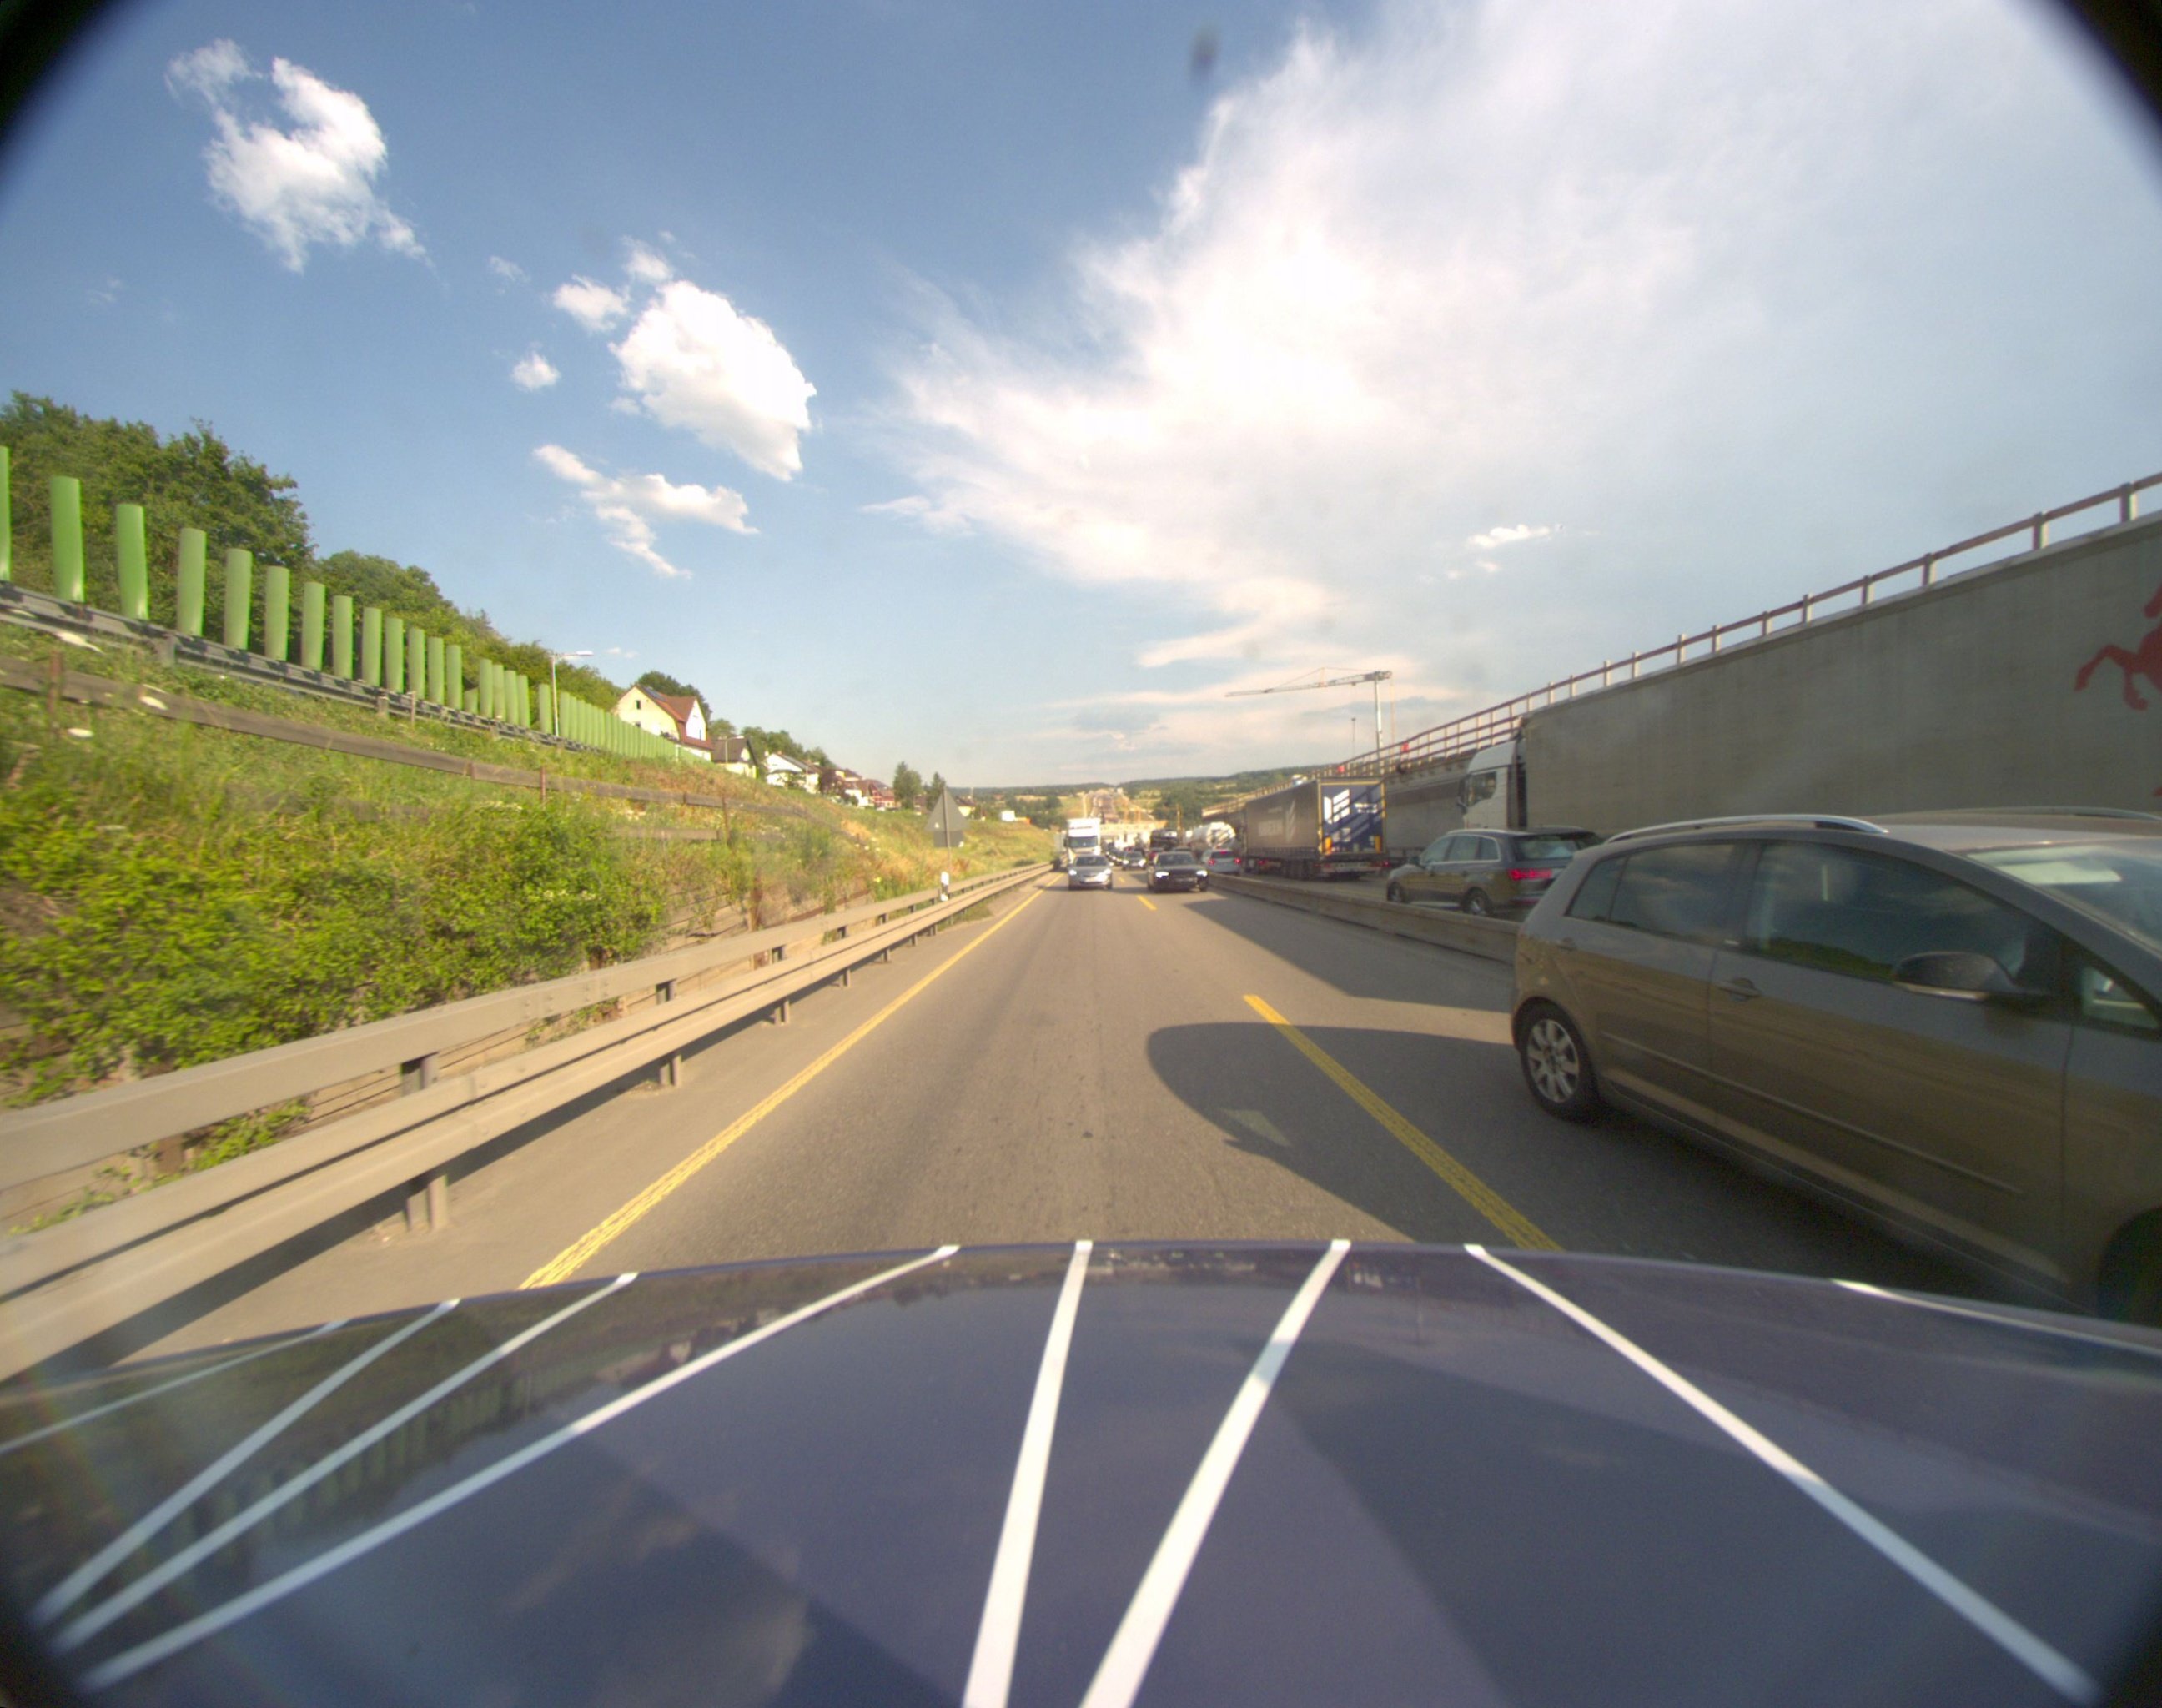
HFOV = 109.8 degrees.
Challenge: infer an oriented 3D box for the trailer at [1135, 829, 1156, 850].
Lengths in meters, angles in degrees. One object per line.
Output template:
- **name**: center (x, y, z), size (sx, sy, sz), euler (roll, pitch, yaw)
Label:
- **trailer**: center (12.232, -2.801, 144.990), size (2.659, 3.828, 13.439), euler (-2, 1, 0)

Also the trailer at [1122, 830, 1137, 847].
- **trailer**: center (12.060, -3.944, 189.241), size (2.933, 4.014, 13.771), euler (-2, 1, 1)

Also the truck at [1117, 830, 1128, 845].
- **truck**: center (13.092, -5.207, 238.323), size (2.834, 4.239, 10.070), euler (-2, 1, 1)

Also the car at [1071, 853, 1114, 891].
- **car**: center (0.488, 0.704, 31.688), size (1.671, 1.425, 3.523), euler (-1, 1, 1)

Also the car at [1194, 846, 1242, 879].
- **car**: center (6.962, 0.388, 39.077), size (1.645, 1.451, 4.595), euler (-2, 1, 1)

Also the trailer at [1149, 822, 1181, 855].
- **trailer**: center (11.157, -2.114, 102.415), size (2.778, 4.008, 15.760), euler (-2, 1, 1)

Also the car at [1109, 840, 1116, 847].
- **car**: center (8.785, -2.886, 213.253), size (1.785, 1.833, 4.852), euler (-2, 1, 1)

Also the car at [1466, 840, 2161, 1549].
- **car**: center (3.263, 0.767, 2.667), size (1.685, 1.579, 4.272), euler (0, 0, 1)

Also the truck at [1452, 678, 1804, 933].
- **truck**: center (10.217, -0.833, 15.079), size (2.867, 3.985, 5.656), euler (-2, 1, 0)

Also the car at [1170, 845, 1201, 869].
- **car**: center (7.709, 0.190, 56.488), size (1.645, 1.635, 4.688), euler (-2, 1, 0)

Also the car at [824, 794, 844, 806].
- **car**: center (-31.242, -6.819, 96.216), size (1.347, 1.225, 3.899), euler (-2, 1, -1)

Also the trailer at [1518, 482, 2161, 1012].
- **trailer**: center (10.102, -0.943, 8.199), size (2.920, 4.216, 13.765), euler (-2, 1, 1)

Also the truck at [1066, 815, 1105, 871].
- **truck**: center (0.472, -0.939, 62.196), size (2.741, 4.034, 12.668), euler (-2, 1, 1)

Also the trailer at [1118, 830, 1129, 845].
- **trailer**: center (12.903, -4.972, 228.971), size (2.834, 4.259, 8.733), euler (-2, 1, 1)

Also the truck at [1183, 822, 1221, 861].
- **truck**: center (11.103, -1.199, 70.271), size (2.555, 3.390, 5.530), euler (-2, 1, 1)

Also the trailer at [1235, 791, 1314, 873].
- **trailer**: center (10.608, -1.144, 42.294), size (2.771, 4.117, 5.976), euler (-2, 0, 1)

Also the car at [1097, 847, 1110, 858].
- **car**: center (3.117, -0.187, 104.853), size (1.720, 1.469, 3.727), euler (-2, 1, 0)

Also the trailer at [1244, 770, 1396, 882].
- **trailer**: center (10.484, -1.055, 35.589), size (2.771, 4.117, 14.025), euler (-2, 0, 1)

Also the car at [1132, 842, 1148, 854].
- **car**: center (8.068, -0.871, 104.793), size (1.770, 1.543, 4.835), euler (-2, 1, 0)

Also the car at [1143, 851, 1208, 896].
- **car**: center (3.376, 0.657, 27.974), size (1.873, 1.411, 4.348), euler (-2, 1, 1)

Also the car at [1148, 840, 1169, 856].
- **car**: center (8.053, -0.656, 79.717), size (1.730, 1.548, 4.297), euler (-2, 0, 0)

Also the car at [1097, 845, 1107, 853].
- **car**: center (4.333, -1.092, 159.497), size (1.998, 1.696, 3.999), euler (-2, 1, 0)

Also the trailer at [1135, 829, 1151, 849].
- **trailer**: center (12.297, -2.944, 151.255), size (2.659, 3.829, 6.427), euler (-2, 1, 0)

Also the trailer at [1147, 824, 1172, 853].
- **trailer**: center (11.318, -2.286, 109.876), size (2.778, 4.008, 7.206), euler (-2, 1, 1)

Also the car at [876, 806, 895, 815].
- **car**: center (-33.403, -7.422, 130.124), size (1.998, 1.434, 4.000), euler (-2, 1, 2)

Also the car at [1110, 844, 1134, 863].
- **car**: center (3.960, -0.072, 73.935), size (1.998, 1.740, 3.999), euler (-1, 1, 0)

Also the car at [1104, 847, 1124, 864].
- **car**: center (3.558, 0.146, 82.759), size (1.917, 1.746, 3.999), euler (-1, 0, 0)

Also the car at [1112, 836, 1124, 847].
- **car**: center (8.651, -2.992, 178.853), size (1.999, 2.608, 7.407), euler (-2, 1, -2)

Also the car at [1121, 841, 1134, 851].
- **car**: center (7.526, -1.276, 123.433), size (1.761, 1.569, 4.338), euler (-2, 1, 1)

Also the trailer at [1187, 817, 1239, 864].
- **trailer**: center (10.991, -1.165, 64.210), size (2.563, 3.506, 10.679), euler (-2, 1, 1)

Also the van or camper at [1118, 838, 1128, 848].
- **van or camper**: center (8.979, -2.373, 162.106), size (1.863, 2.002, 5.294), euler (-2, 1, 0)

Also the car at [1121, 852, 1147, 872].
- **car**: center (4.090, 0.602, 59.138), size (1.692, 1.294, 3.882), euler (-2, 1, -1)

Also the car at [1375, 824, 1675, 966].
- **car**: center (6.729, 0.472, 12.372), size (1.827, 1.762, 5.138), euler (-2, 1, 0)

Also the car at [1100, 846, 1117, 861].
- **car**: center (3.423, -0.107, 93.553), size (1.917, 1.746, 3.999), euler (-1, 0, 0)
